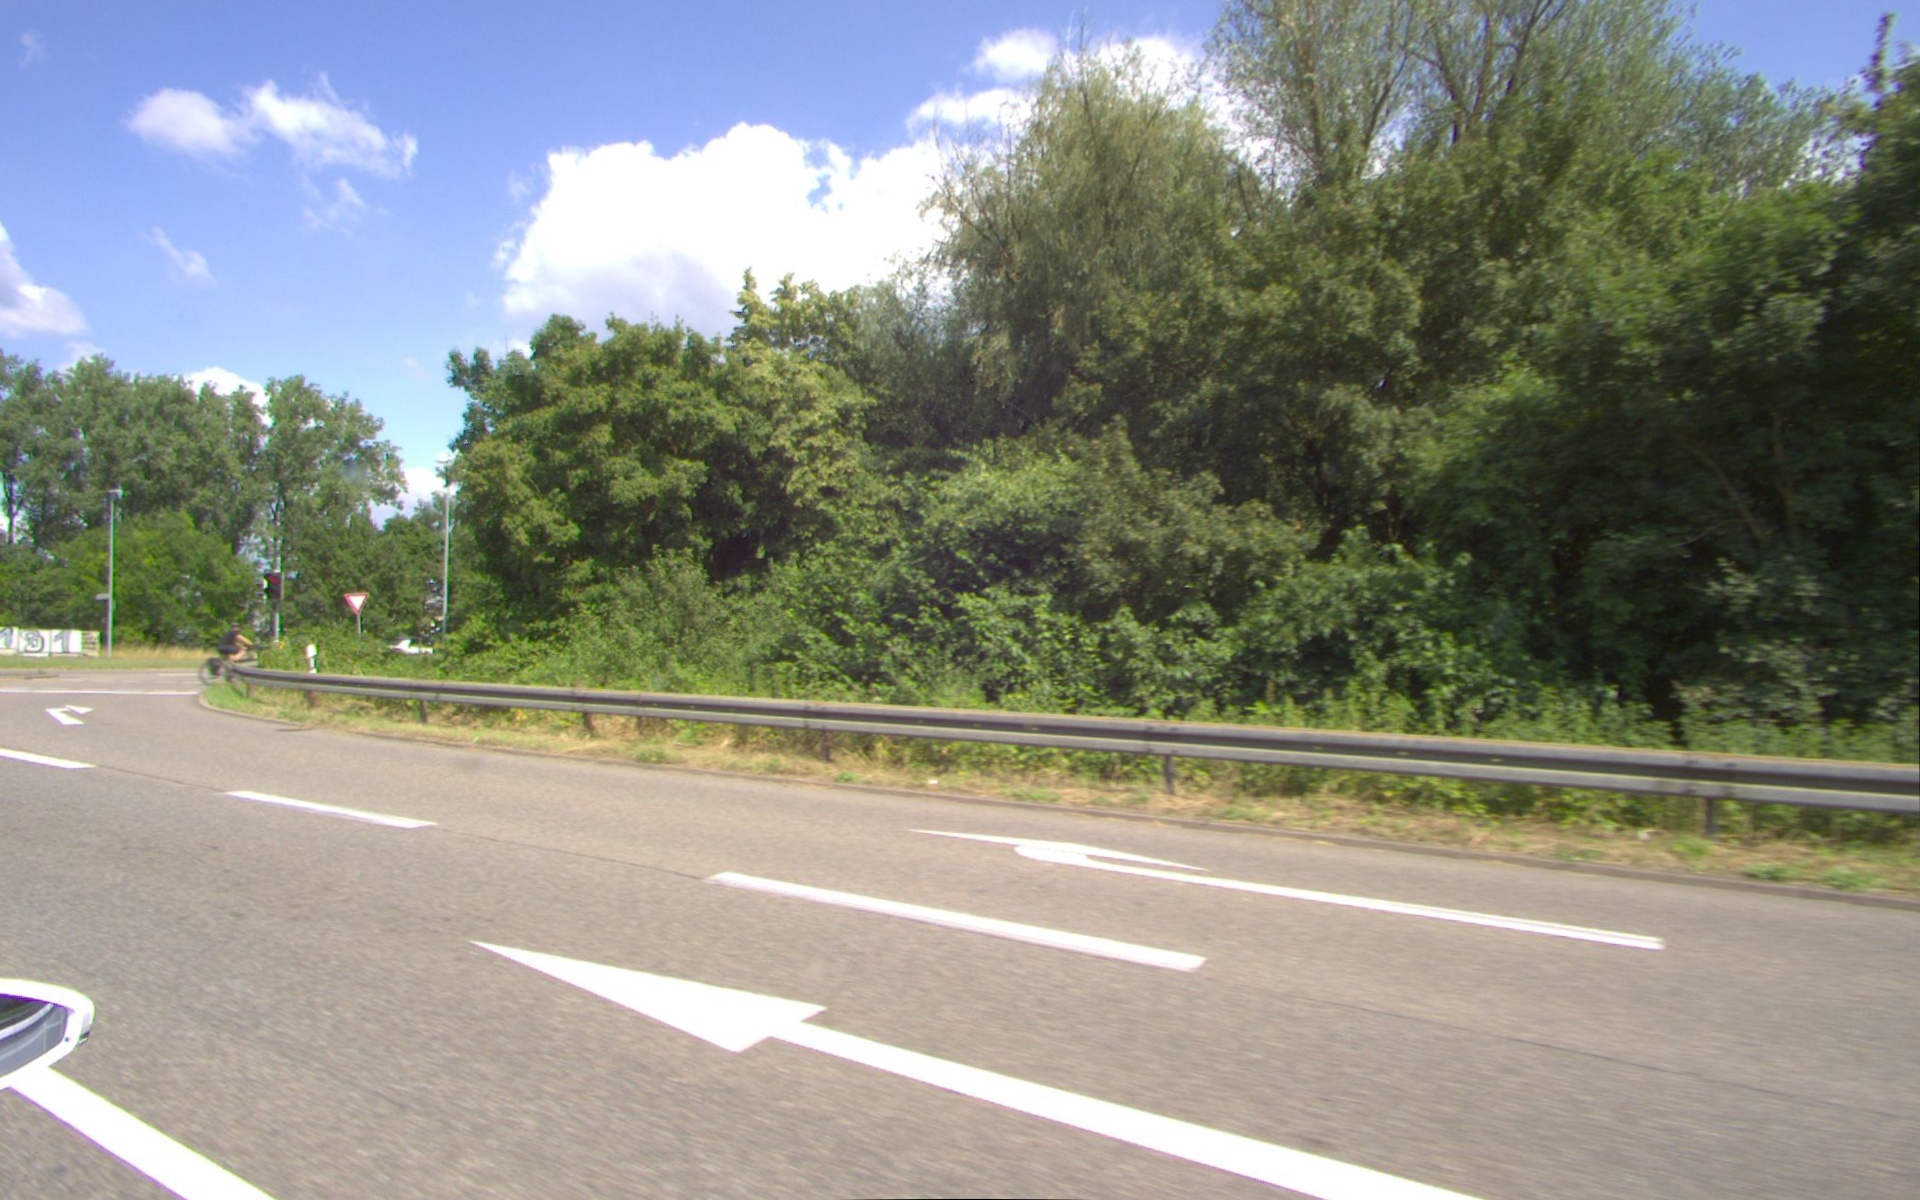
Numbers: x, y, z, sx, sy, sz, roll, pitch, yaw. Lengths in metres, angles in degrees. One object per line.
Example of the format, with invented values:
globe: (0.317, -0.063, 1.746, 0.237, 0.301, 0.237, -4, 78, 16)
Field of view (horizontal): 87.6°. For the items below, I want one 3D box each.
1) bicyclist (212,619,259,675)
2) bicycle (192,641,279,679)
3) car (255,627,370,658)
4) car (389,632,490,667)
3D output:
bicyclist: (-20.793, 1.338, 28.754, 0.660, 1.580, 0.836, 0, -1, 14)
bicycle: (-20.789, 1.709, 28.788, 0.660, 1.036, 2.058, 0, -2, 14)
car: (-33.860, 2.220, 52.490, 1.710, 1.564, 4.846, 0, -2, 28)
car: (-24.475, 2.360, 47.224, 1.708, 1.494, 4.040, 0, -4, 23)
